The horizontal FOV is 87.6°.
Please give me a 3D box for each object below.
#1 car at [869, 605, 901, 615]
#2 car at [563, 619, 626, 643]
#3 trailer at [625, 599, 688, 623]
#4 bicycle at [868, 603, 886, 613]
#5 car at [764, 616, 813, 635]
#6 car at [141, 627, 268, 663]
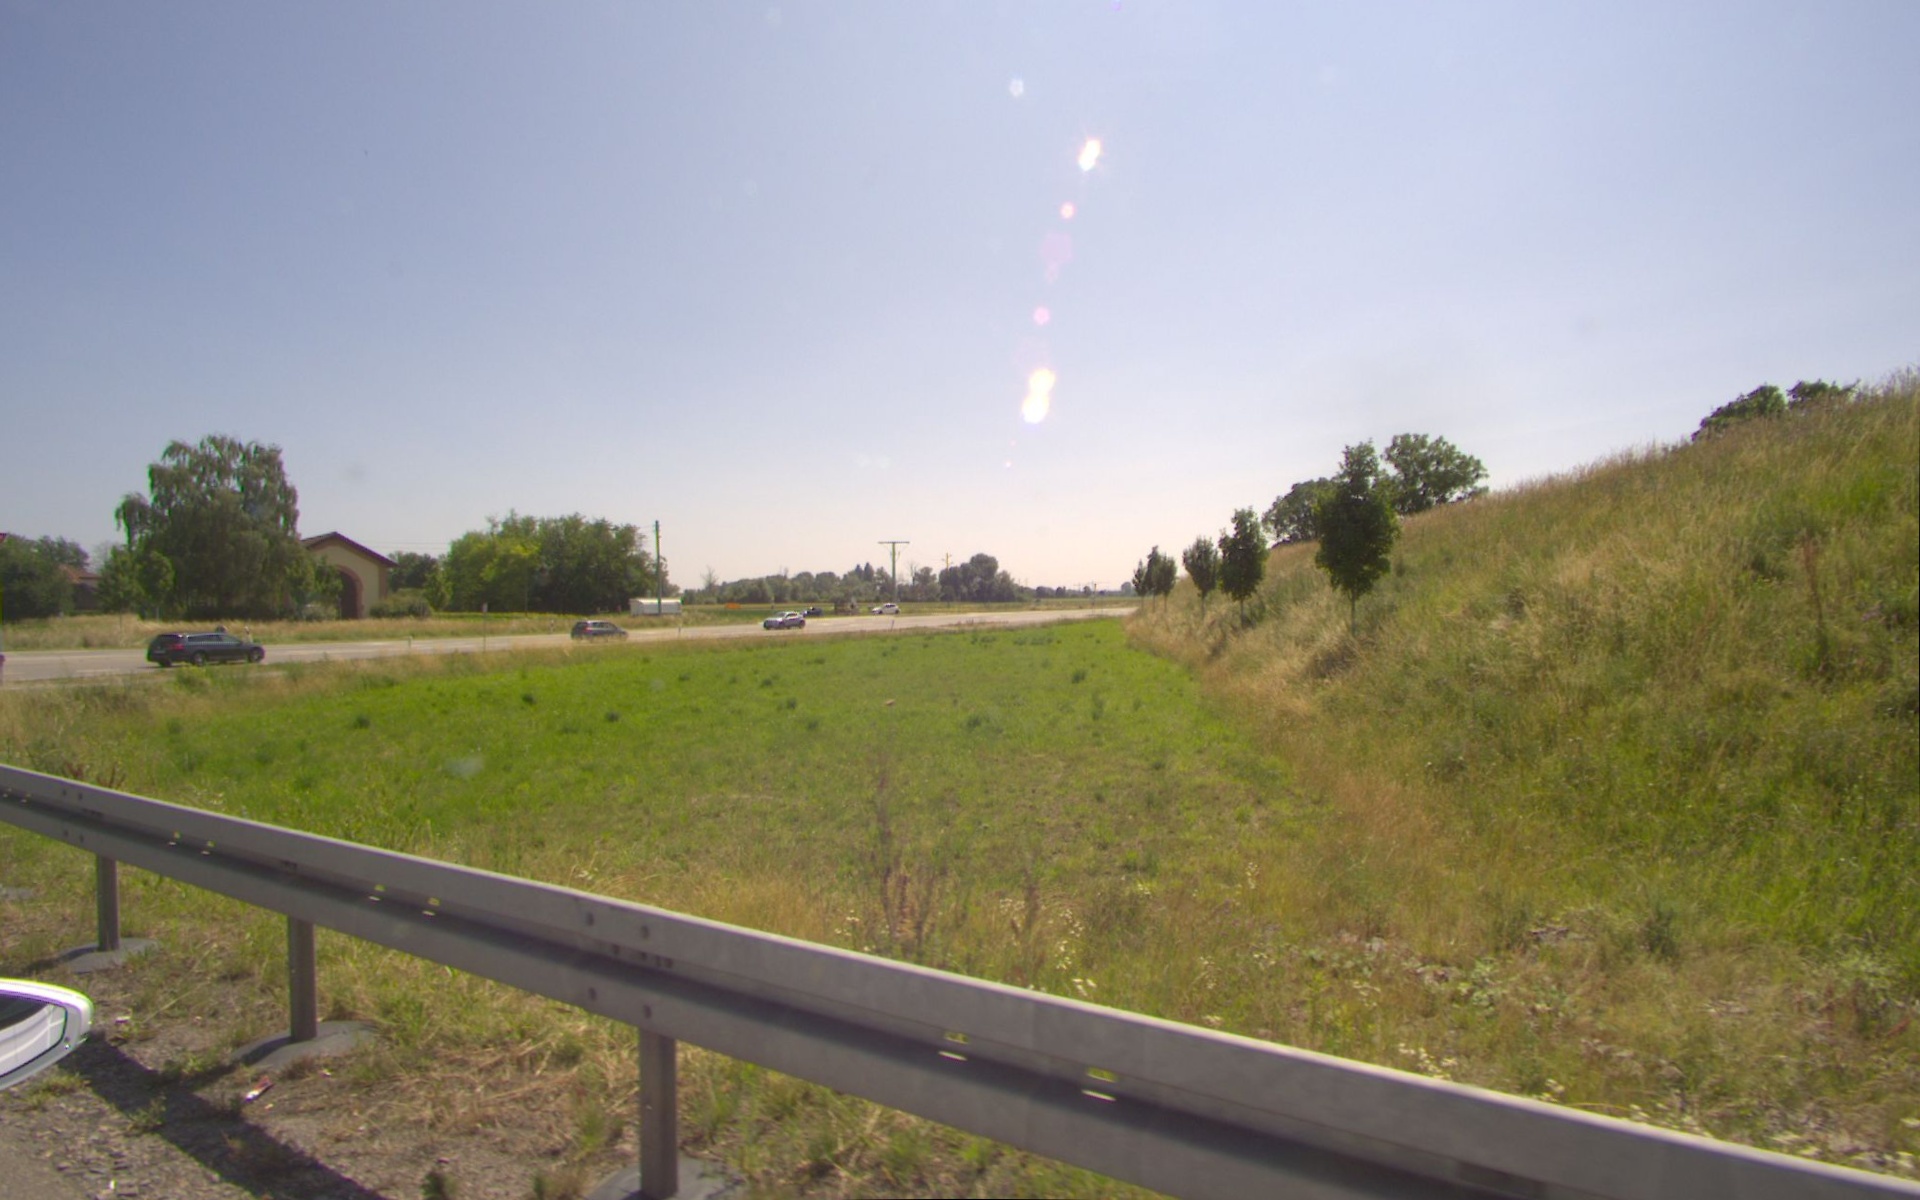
[{"bbox_3d":[-10.041,1.323,134.263,3.975,1.350,1.689,1,1,-26],"label":"car"},{"bbox_3d":[-24.388,2.059,66.914,1.776,1.541,3.872,-1,-1,24],"label":"car"},{"bbox_3d":[-33.340,1.148,110.255,2.651,2.489,6.339,1,1,36],"label":"trailer"},{"bbox_3d":[-12.333,1.138,148.245,2.572,1.389,0.900,-2,-2,22],"label":"bicycle"},{"bbox_3d":[-15.219,2.239,88.946,1.843,1.565,4.529,1,1,30],"label":"car"},{"bbox_3d":[-32.624,1.914,43.411,1.771,1.495,4.414,-1,-1,9],"label":"car"}]
